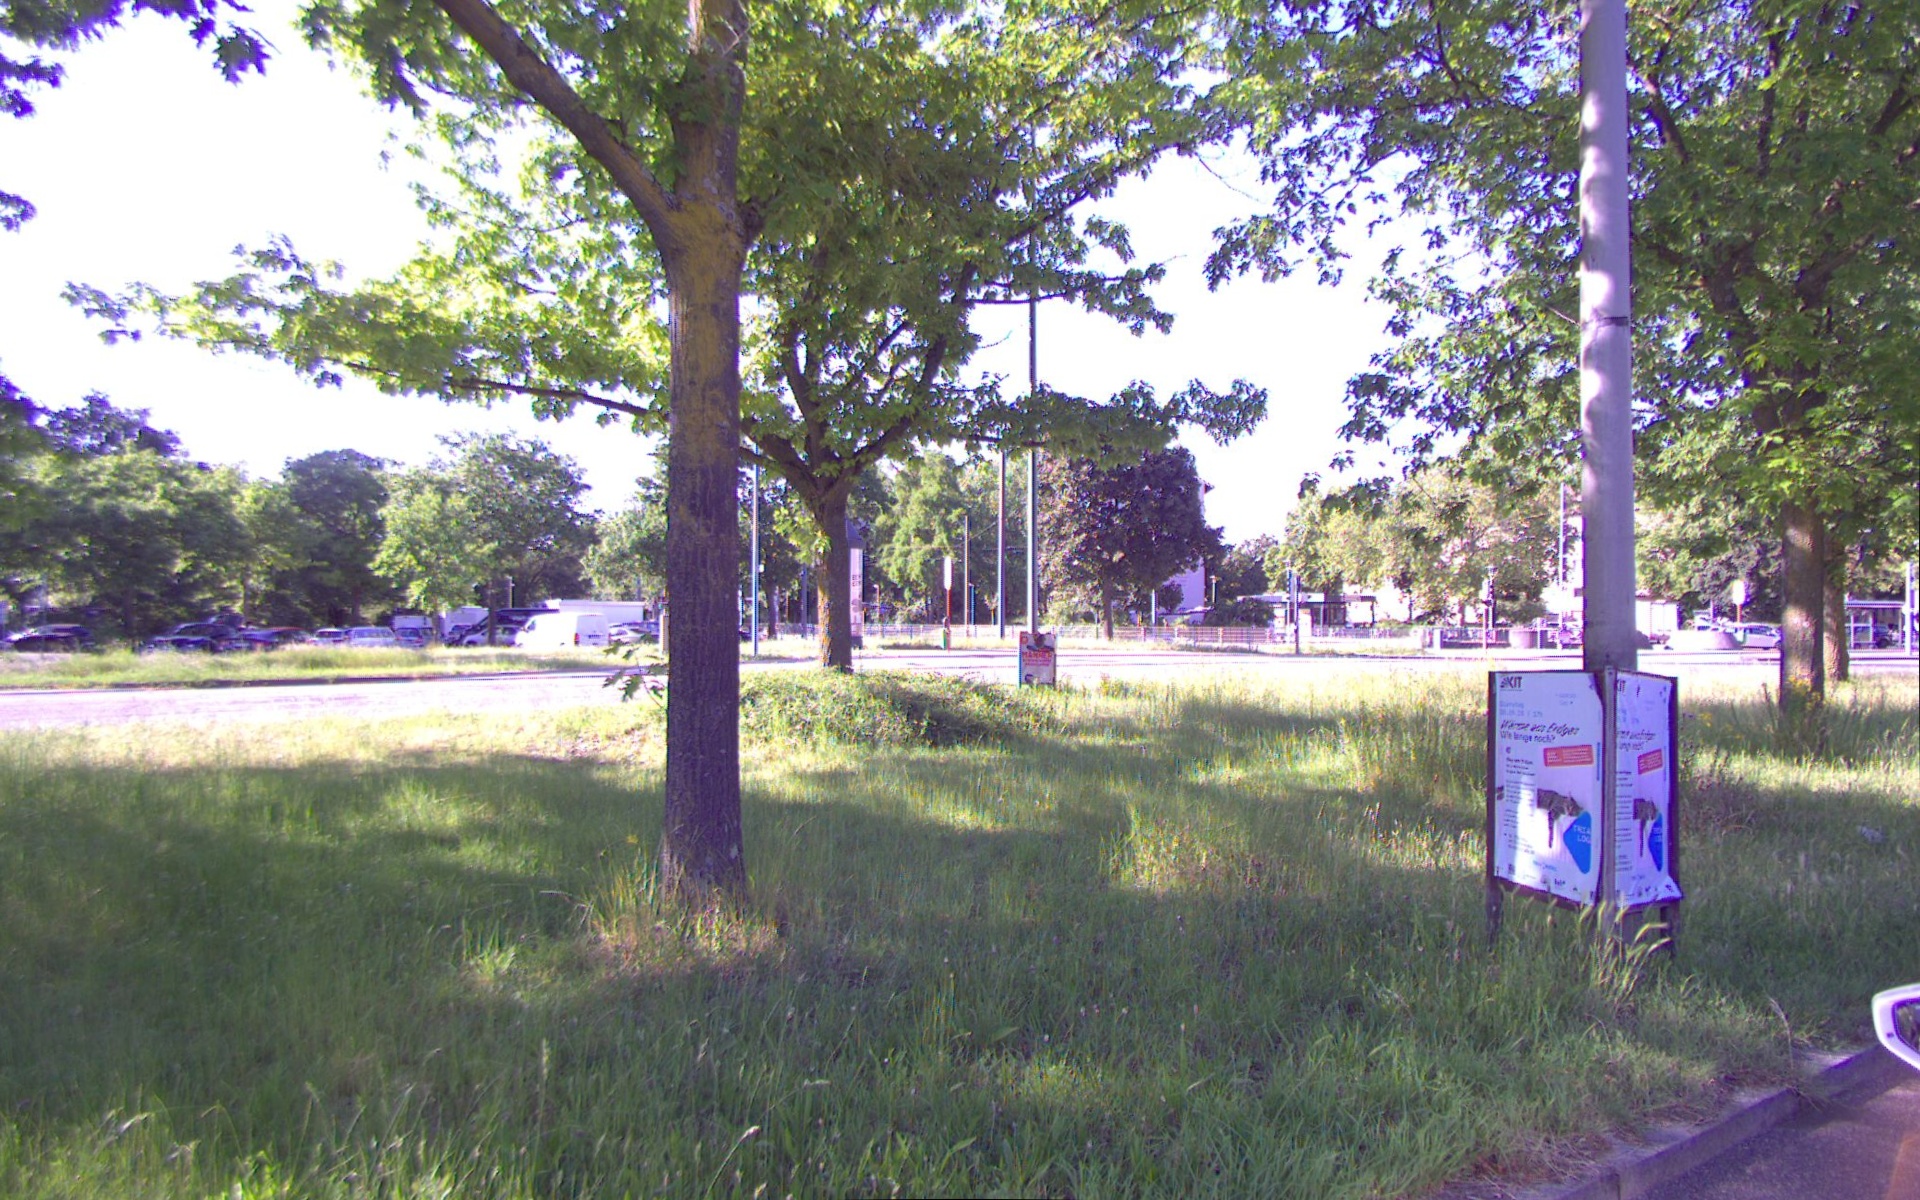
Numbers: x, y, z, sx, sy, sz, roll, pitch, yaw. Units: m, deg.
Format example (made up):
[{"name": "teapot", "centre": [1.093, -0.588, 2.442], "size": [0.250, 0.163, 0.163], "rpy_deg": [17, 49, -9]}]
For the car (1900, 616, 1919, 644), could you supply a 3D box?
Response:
[{"name": "car", "centre": [71.679, 2.214, 73.293], "size": [1.910, 2.040, 4.155], "rpy_deg": [1, -1, -31]}]

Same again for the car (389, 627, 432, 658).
[{"name": "car", "centre": [-26.700, 2.029, 48.780], "size": [1.602, 1.438, 3.050], "rpy_deg": [1, -1, -33]}]

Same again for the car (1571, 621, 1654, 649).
[{"name": "car", "centre": [41.058, 2.203, 63.273], "size": [3.919, 1.706, 2.001], "rpy_deg": [0, -1, 9]}]

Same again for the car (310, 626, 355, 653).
[{"name": "car", "centre": [-29.293, 1.826, 46.866], "size": [1.603, 1.194, 3.047], "rpy_deg": [1, -1, -35]}]

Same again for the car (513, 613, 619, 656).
[{"name": "car", "centre": [-17.217, 1.475, 43.801], "size": [4.670, 1.762, 2.024], "rpy_deg": [0, -1, 34]}]

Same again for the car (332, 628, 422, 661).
[{"name": "car", "centre": [-21.825, 1.635, 37.635], "size": [2.769, 1.171, 1.326], "rpy_deg": [1, -1, -40]}]

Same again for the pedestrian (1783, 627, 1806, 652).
[{"name": "pedestrian", "centre": [53.635, 2.526, 64.564], "size": [0.781, 1.629, 0.923], "rpy_deg": [0, -1, 9]}]

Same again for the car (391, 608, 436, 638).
[{"name": "car", "centre": [-32.486, 1.366, 59.787], "size": [1.865, 1.691, 3.733], "rpy_deg": [1, -1, -22]}]

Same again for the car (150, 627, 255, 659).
[{"name": "car", "centre": [-26.841, 1.505, 35.630], "size": [1.315, 1.078, 2.777], "rpy_deg": [-1, -1, 42]}]

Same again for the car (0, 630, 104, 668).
[{"name": "car", "centre": [-47.421, 2.506, 52.281], "size": [1.966, 1.817, 3.990], "rpy_deg": [0, -1, 32]}]

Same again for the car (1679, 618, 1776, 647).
[{"name": "car", "centre": [46.909, 1.963, 61.464], "size": [4.233, 1.706, 2.001], "rpy_deg": [0, -1, 9]}]

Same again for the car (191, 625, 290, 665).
[{"name": "car", "centre": [-25.232, 1.564, 35.245], "size": [2.769, 1.323, 1.326], "rpy_deg": [1, -1, -40]}]

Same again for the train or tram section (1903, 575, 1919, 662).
[{"name": "train or tram section", "centre": [48.943, 0.777, 39.400], "size": [18.990, 3.559, 3.309], "rpy_deg": [0, -1, 8]}]

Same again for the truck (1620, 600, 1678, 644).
[{"name": "truck", "centre": [46.643, 1.477, 68.089], "size": [1.960, 2.842, 4.002], "rpy_deg": [0, -1, 15]}]

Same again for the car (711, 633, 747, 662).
[{"name": "car", "centre": [-12.029, 2.454, 52.488], "size": [1.589, 1.438, 3.073], "rpy_deg": [0, -1, -8]}]

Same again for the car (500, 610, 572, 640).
[{"name": "car", "centre": [-24.128, 1.414, 57.290], "size": [3.698, 1.691, 1.883], "rpy_deg": [1, -1, -23]}]
